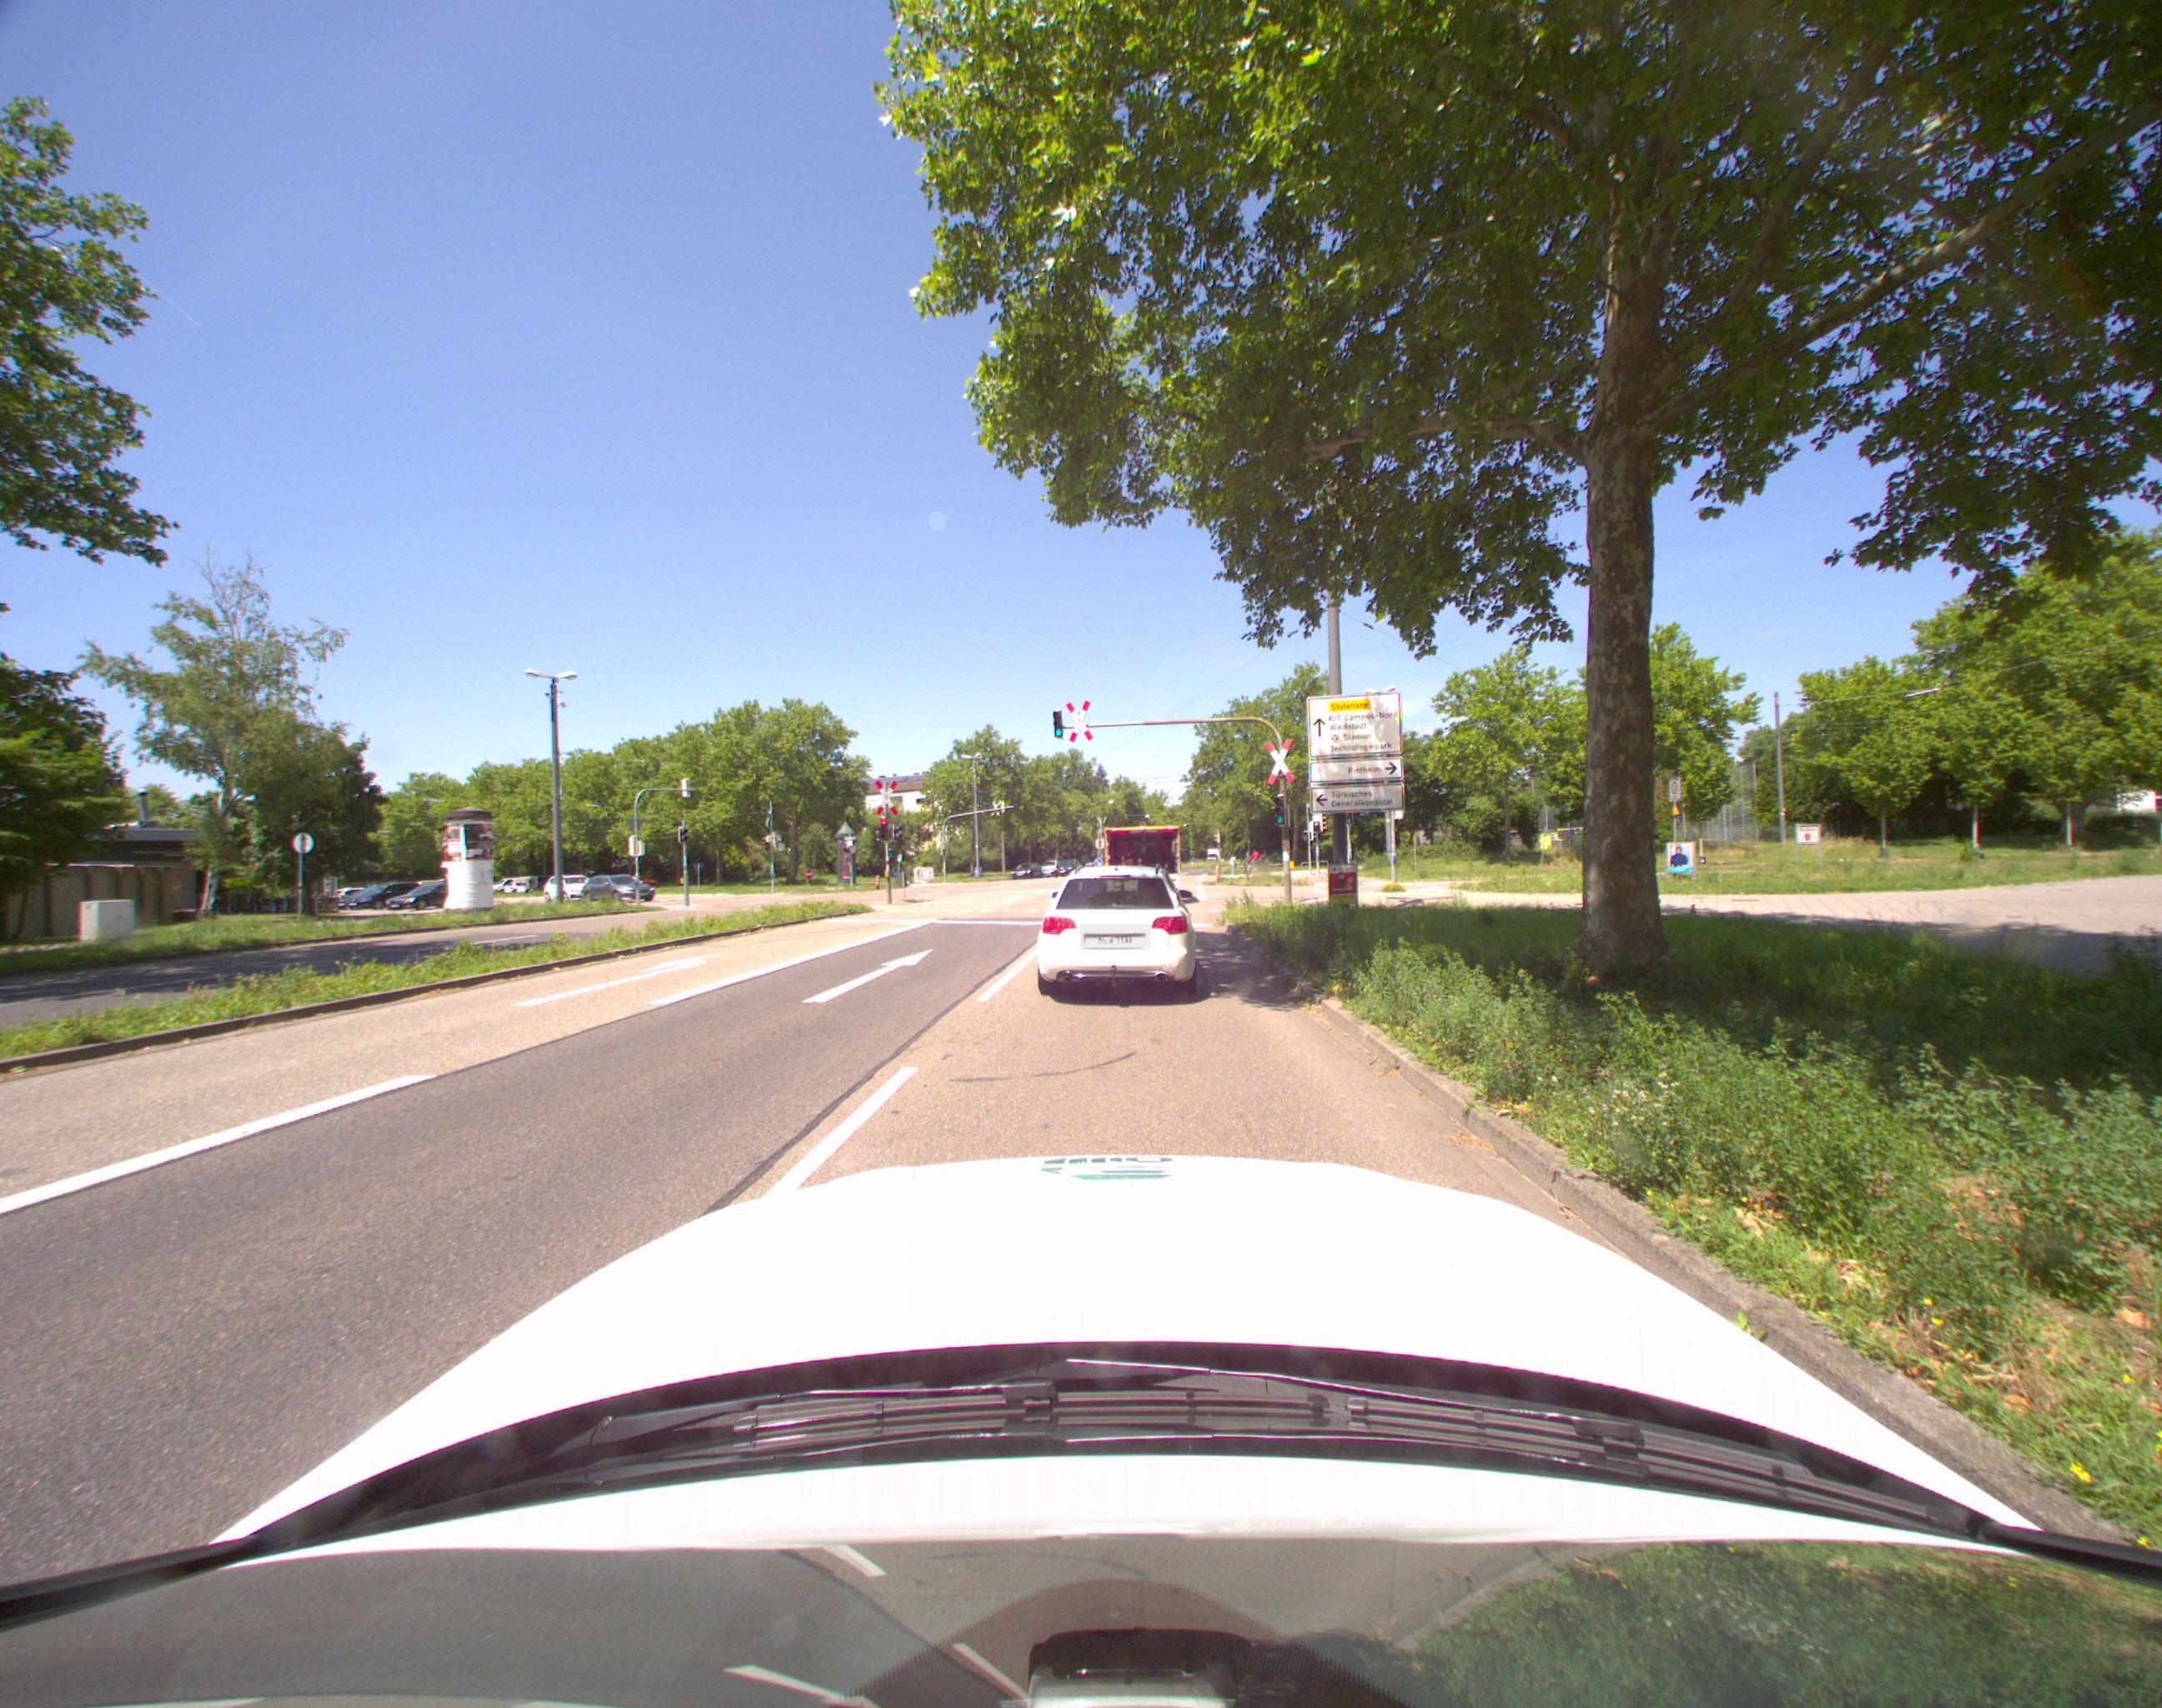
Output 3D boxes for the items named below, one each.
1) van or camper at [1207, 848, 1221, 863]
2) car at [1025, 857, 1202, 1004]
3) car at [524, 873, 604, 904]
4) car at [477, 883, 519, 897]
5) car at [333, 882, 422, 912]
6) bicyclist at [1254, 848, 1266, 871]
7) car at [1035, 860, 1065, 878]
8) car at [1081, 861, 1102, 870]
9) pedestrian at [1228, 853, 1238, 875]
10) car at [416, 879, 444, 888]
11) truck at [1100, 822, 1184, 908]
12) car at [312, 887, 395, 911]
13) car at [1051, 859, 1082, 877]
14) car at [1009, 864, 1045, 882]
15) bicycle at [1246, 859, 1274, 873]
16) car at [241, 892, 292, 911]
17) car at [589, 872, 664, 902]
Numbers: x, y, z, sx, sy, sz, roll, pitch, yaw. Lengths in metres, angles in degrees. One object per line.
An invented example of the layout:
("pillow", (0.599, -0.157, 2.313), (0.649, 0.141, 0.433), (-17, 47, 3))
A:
("van or camper", (32.482, 0.367, 198.597), (2.640, 3.331, 5.524), (-2, -1, 16))
("car", (0.504, 0.781, 9.978), (1.754, 1.445, 3.622), (-1, 0, 6))
("car", (-29.475, 1.972, 46.395), (4.403, 1.604, 2.231), (-2, 0, 34))
("car", (-66.427, 4.050, 92.811), (1.481, 1.397, 3.572), (-2, 0, 29))
("car", (-44.925, 2.718, 52.132), (1.769, 1.651, 4.201), (-2, -1, 6))
("bicyclist", (12.152, 0.375, 55.259), (0.669, 1.556, 0.579), (-2, -1, 1))
("car", (-3.012, 1.432, 80.524), (1.774, 1.615, 4.421), (-2, 0, 14))
("car", (1.735, 1.921, 138.906), (1.864, 1.393, 4.024), (-2, -1, 28))
("pedestrian", (10.757, 0.713, 57.718), (0.548, 1.484, 0.632), (-2, -1, 18))
("car", (-88.387, 4.002, 110.595), (0.996, 0.994, 2.738), (-2, -1, 31))
("truck", (2.161, 0.355, 28.175), (2.499, 2.559, 7.613), (0, -1, 5))
("car", (-51.964, 3.205, 58.277), (1.930, 1.423, 4.070), (-2, -1, 8))
("car", (-1.286, 1.234, 73.850), (1.897, 1.539, 4.311), (-2, 0, 11))
("car", (-4.835, 1.670, 73.426), (1.936, 1.440, 4.763), (-2, 0, 13))
("bicycle", (12.142, 0.833, 55.258), (1.799, 0.896, 0.589), (-2, -1, 0))
("car", (-63.988, 3.725, 64.007), (1.181, 1.205, 2.874), (-2, 0, -3))
("car", (-23.828, 1.716, 42.642), (3.941, 1.457, 1.776), (-2, 0, 34))
